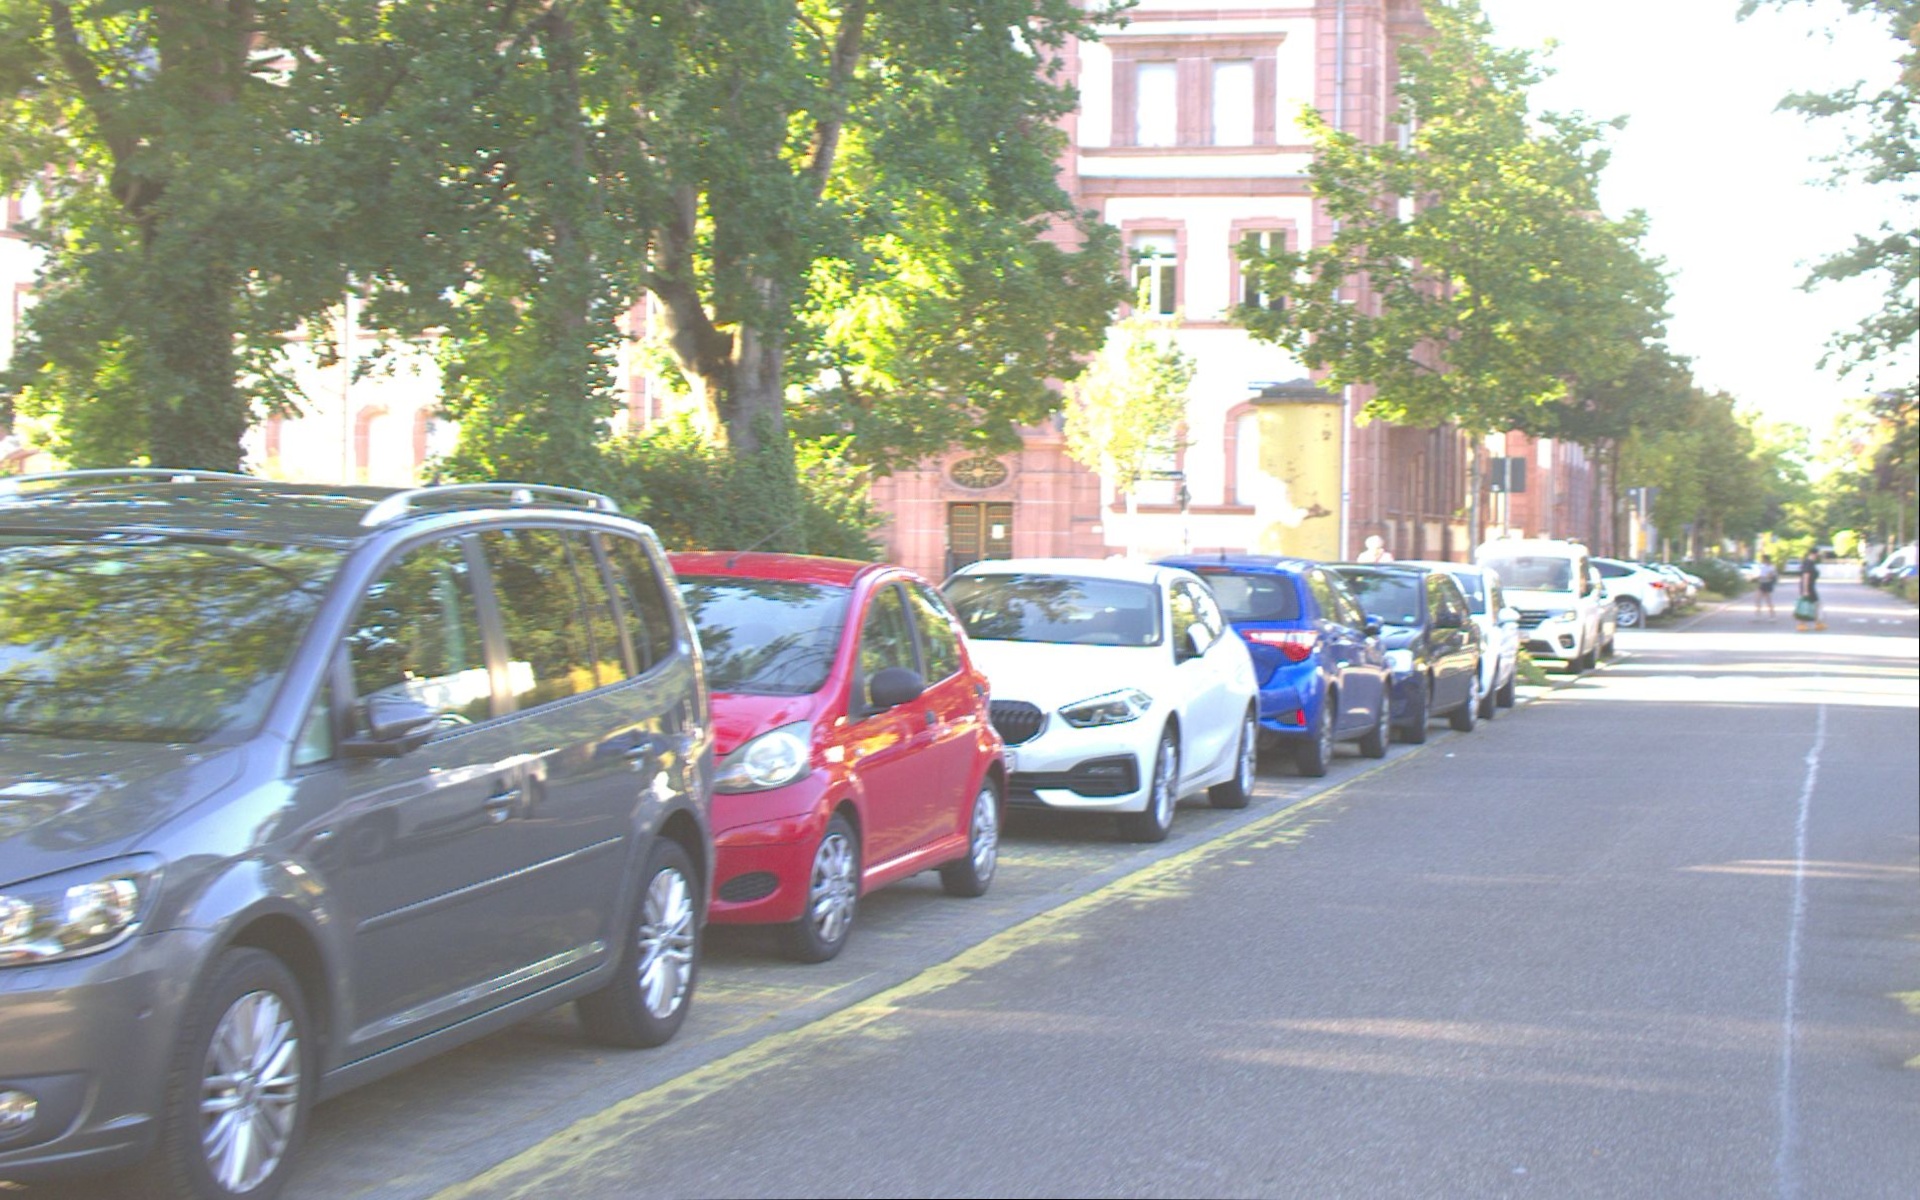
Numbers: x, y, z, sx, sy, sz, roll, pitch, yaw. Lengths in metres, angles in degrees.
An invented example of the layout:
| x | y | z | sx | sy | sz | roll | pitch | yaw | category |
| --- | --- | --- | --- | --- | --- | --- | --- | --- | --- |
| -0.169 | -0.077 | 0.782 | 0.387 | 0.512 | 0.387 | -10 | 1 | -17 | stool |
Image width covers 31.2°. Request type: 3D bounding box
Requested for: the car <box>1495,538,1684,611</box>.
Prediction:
| x | y | z | sx | sy | sz | roll | pitch | yaw | category |
| --- | --- | --- | --- | --- | --- | --- | --- | --- | --- |
| 15.572 | -0.646 | 84.985 | 4.485 | 1.711 | 1.841 | 1 | 1 | 13 | car |

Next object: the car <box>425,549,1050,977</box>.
| x | y | z | sx | sy | sz | roll | pitch | yaw | category |
| --- | --- | --- | --- | --- | --- | --- | --- | --- | --- |
| -0.757 | 0.540 | 13.738 | 1.388 | 1.418 | 3.424 | 3 | 2 | 15 | car |

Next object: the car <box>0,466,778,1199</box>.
| x | y | z | sx | sy | sz | roll | pitch | yaw | category |
| --- | --- | --- | --- | --- | --- | --- | --- | --- | --- |
| -2.048 | 0.510 | 8.962 | 1.803 | 1.670 | 4.317 | 3 | 2 | 15 | car |

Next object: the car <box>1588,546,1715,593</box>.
| x | y | z | sx | sy | sz | roll | pitch | yaw | category |
| --- | --- | --- | --- | --- | --- | --- | --- | --- | --- |
| 25.240 | -1.108 | 125.399 | 4.485 | 1.602 | 1.841 | 1 | 1 | 13 | car |

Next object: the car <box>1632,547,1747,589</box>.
| x | y | z | sx | sy | sz | roll | pitch | yaw | category |
| --- | --- | --- | --- | --- | --- | --- | --- | --- | --- |
| 29.636 | -1.317 | 139.677 | 4.485 | 1.602 | 1.841 | 1 | 1 | 13 | car |

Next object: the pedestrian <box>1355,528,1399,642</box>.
| x | y | z | sx | sy | sz | roll | pitch | yaw | category |
| --- | --- | --- | --- | --- | --- | --- | --- | --- | --- |
| 6.569 | -0.244 | 54.136 | 0.599 | 1.778 | 0.946 | 1 | 1 | 11 | pedestrian |

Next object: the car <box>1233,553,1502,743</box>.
| x | y | z | sx | sy | sz | roll | pitch | yaw | category |
| --- | --- | --- | --- | --- | --- | --- | --- | --- | --- |
| 3.568 | 0.354 | 29.568 | 1.553 | 1.489 | 3.939 | 1 | 1 | 18 | car |

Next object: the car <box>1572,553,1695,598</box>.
| x | y | z | sx | sy | sz | roll | pitch | yaw | category |
| --- | --- | --- | --- | --- | --- | --- | --- | --- | --- |
| 25.529 | -0.938 | 130.303 | 4.485 | 1.602 | 1.841 | 1 | 1 | 13 | car |

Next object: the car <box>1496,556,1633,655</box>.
| x | y | z | sx | sy | sz | roll | pitch | yaw | category |
| --- | --- | --- | --- | --- | --- | --- | --- | --- | --- |
| 9.875 | 0.050 | 55.922 | 1.782 | 1.500 | 4.550 | 1 | 1 | 15 | car |

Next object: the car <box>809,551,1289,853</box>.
| x | y | z | sx | sy | sz | roll | pitch | yaw | category |
| --- | --- | --- | --- | --- | --- | --- | --- | --- | --- |
| 0.608 | 0.473 | 19.045 | 1.691 | 1.401 | 3.972 | 3 | 2 | 15 | car |

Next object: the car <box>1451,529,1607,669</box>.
| x | y | z | sx | sy | sz | roll | pitch | yaw | category |
| --- | --- | --- | --- | --- | --- | --- | --- | --- | --- |
| 8.029 | -0.055 | 48.243 | 1.782 | 1.834 | 4.550 | 1 | 1 | 14 | car |

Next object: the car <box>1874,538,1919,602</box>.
| x | y | z | sx | sy | sz | roll | pitch | yaw | category |
| --- | --- | --- | --- | --- | --- | --- | --- | --- | --- |
| 55.731 | -1.725 | 199.910 | 4.889 | 3.605 | 1.841 | 1 | 1 | 14 | car |

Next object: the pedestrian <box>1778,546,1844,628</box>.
| x | y | z | sx | sy | sz | roll | pitch | yaw | category |
| --- | --- | --- | --- | --- | --- | --- | --- | --- | --- |
| 19.545 | -0.301 | 78.987 | 1.060 | 1.851 | 1.002 | 1 | 1 | -17 | pedestrian |

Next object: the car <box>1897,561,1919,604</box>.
| x | y | z | sx | sy | sz | roll | pitch | yaw | category |
| --- | --- | --- | --- | --- | --- | --- | --- | --- | --- |
| 37.558 | -0.617 | 129.059 | 4.485 | 1.602 | 1.841 | 1 | 1 | 13 | car |

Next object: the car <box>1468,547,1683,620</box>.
| x | y | z | sx | sy | sz | roll | pitch | yaw | category |
| --- | --- | --- | --- | --- | --- | --- | --- | --- | --- |
| 14.420 | -0.407 | 80.488 | 4.845 | 1.588 | 1.841 | 1 | 1 | 13 | car |

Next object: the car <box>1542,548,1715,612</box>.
| x | y | z | sx | sy | sz | roll | pitch | yaw | category |
| --- | --- | --- | --- | --- | --- | --- | --- | --- | --- |
| 18.037 | -0.561 | 92.679 | 4.485 | 1.602 | 1.841 | 1 | 1 | 13 | car |

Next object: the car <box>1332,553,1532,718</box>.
| x | y | z | sx | sy | sz | roll | pitch | yaw | category |
| --- | --- | --- | --- | --- | --- | --- | --- | --- | --- |
| 4.795 | 0.307 | 34.593 | 1.593 | 1.521 | 3.863 | 1 | 1 | 13 | car |

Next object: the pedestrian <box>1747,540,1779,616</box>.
| x | y | z | sx | sy | sz | roll | pitch | yaw | category |
| --- | --- | --- | --- | --- | --- | --- | --- | --- | --- |
| 20.785 | -0.570 | 88.962 | 0.719 | 1.955 | 0.786 | 1 | 0 | 18 | pedestrian |

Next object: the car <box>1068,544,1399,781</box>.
| x | y | z | sx | sy | sz | roll | pitch | yaw | category |
| --- | --- | --- | --- | --- | --- | --- | --- | --- | --- |
| 2.046 | 0.385 | 24.760 | 1.639 | 1.490 | 3.702 | 3 | 2 | 15 | car |
